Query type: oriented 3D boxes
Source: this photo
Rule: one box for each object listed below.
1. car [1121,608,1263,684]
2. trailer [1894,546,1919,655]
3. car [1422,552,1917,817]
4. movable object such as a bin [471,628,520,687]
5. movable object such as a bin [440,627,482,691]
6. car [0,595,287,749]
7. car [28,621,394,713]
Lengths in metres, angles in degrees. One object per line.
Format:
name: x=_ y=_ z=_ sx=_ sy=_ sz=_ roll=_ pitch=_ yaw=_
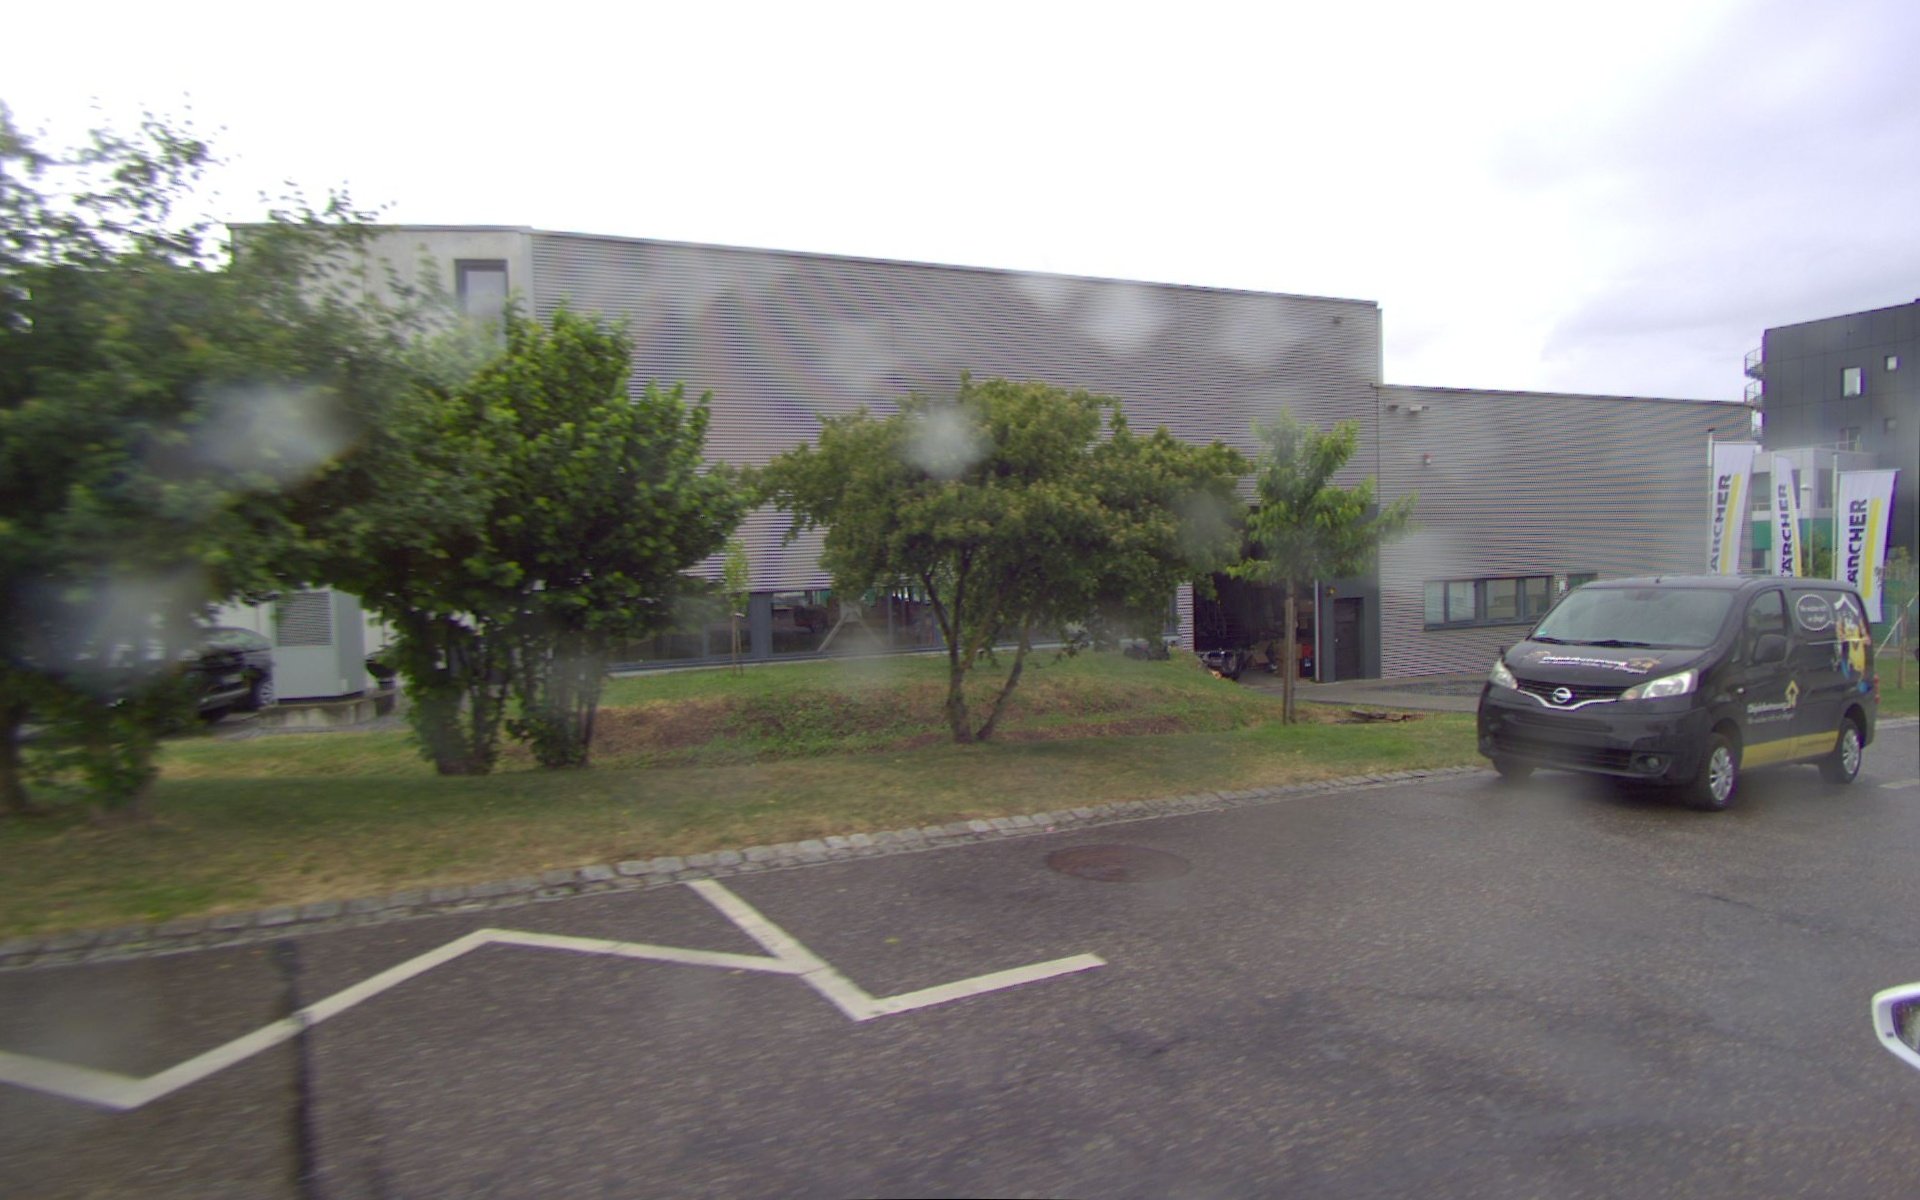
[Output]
car: x=6.346 y=1.194 z=28.003 sx=1.904 sy=1.796 sz=4.206 roll=-3 pitch=2 yaw=-19
trailer: x=38.402 y=0.004 z=38.303 sx=1.965 sy=4.259 sz=4.189 roll=0 pitch=-1 yaw=6
car: x=6.532 y=0.615 z=9.098 sx=4.792 sy=1.856 sz=1.906 roll=1 pitch=0 yaw=-31
movable object such as a bin: x=-8.943 y=1.095 z=19.359 sx=0.661 sy=1.111 sz=0.636 roll=-1 pitch=-1 yaw=-6
movable object such as a bin: x=-9.550 y=1.121 z=19.238 sx=0.557 sy=1.181 sz=0.556 roll=-1 pitch=-1 yaw=-6
car: x=-13.224 y=1.002 z=14.352 sx=5.507 sy=1.948 sz=2.132 roll=-2 pitch=1 yaw=-8
car: x=-12.584 y=1.090 z=17.200 sx=4.604 sy=1.415 sz=1.997 roll=0 pitch=-1 yaw=-8
